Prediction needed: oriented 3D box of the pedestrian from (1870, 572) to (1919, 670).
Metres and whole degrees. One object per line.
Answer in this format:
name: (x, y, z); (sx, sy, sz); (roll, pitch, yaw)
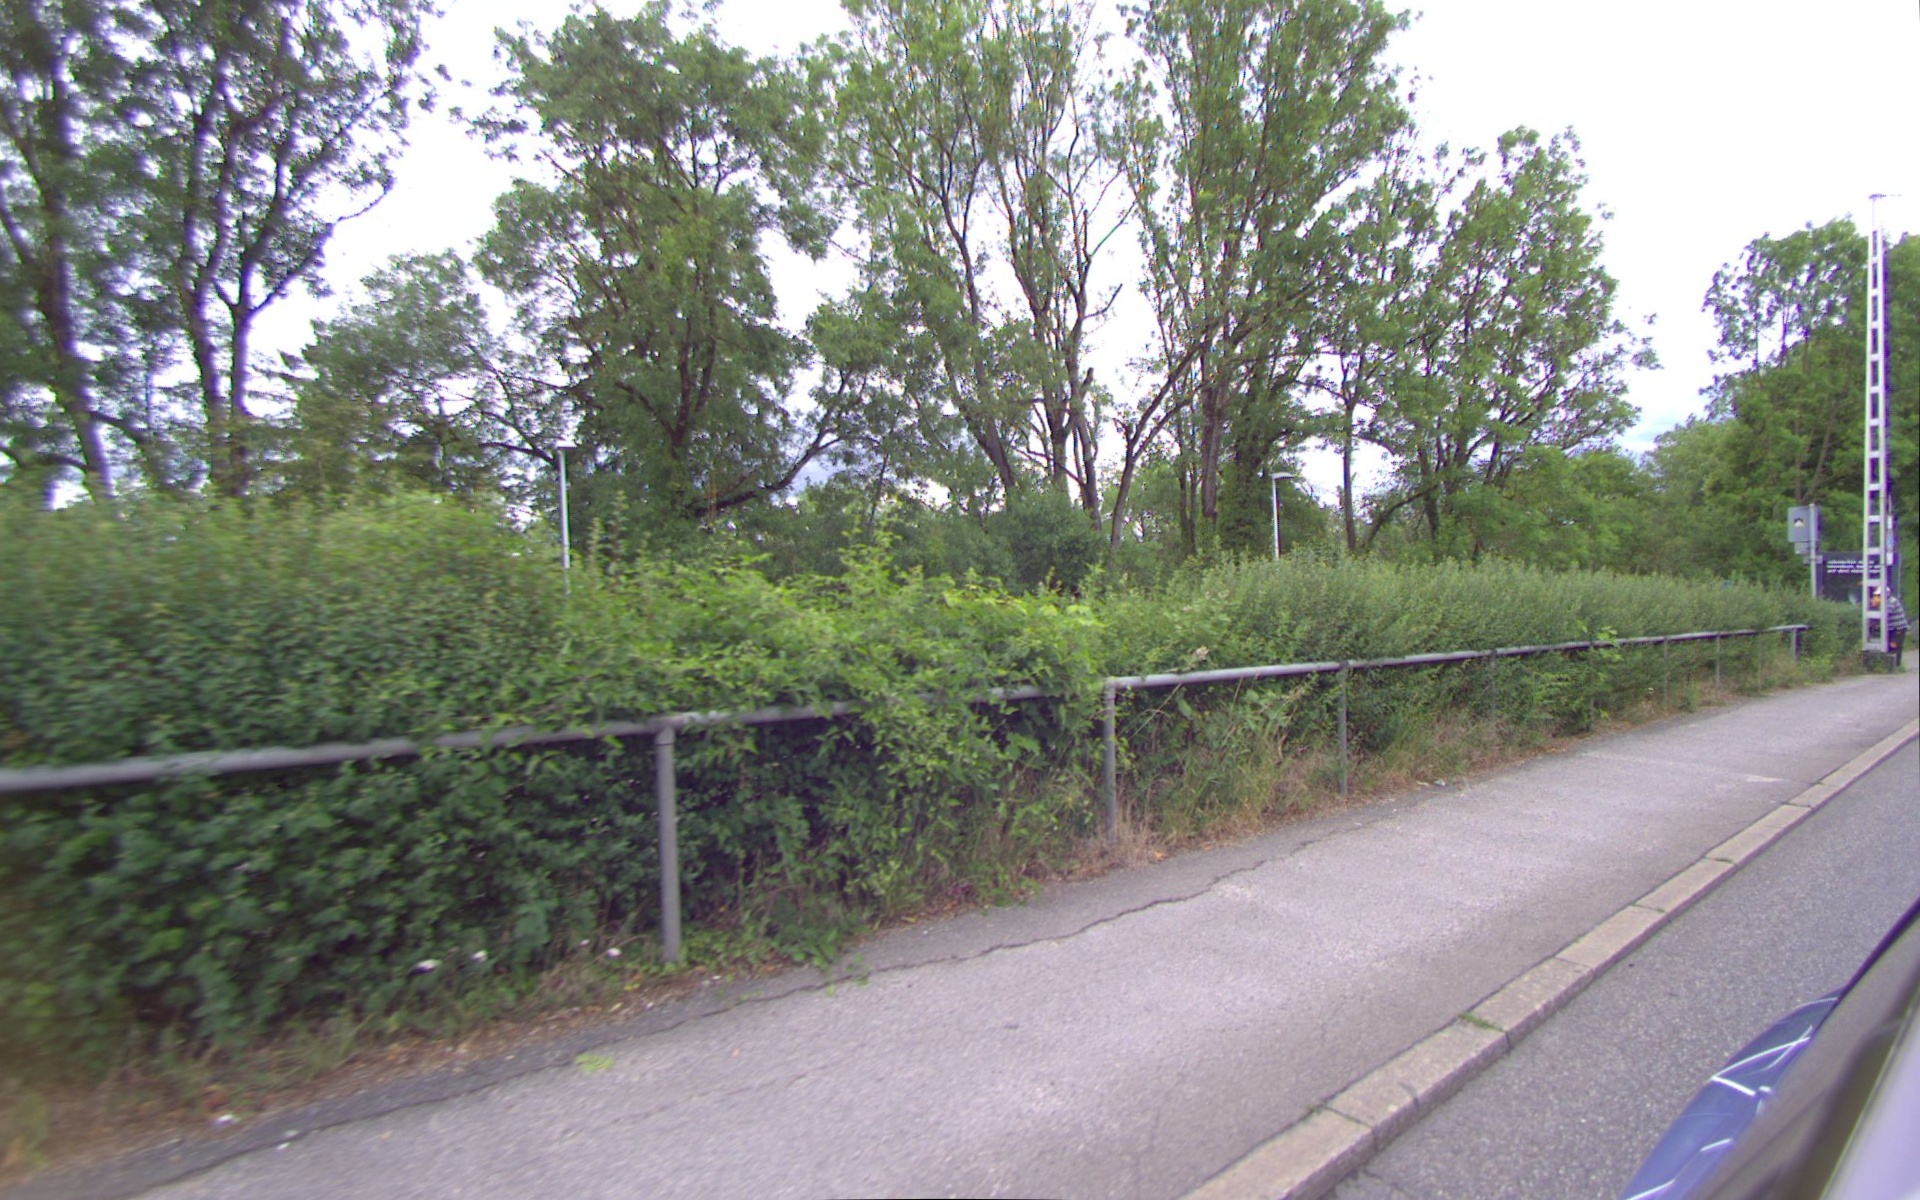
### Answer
pedestrian: (18.943, 0.402, 20.298); (0.931, 1.908, 0.815); (1, 1, -36)
